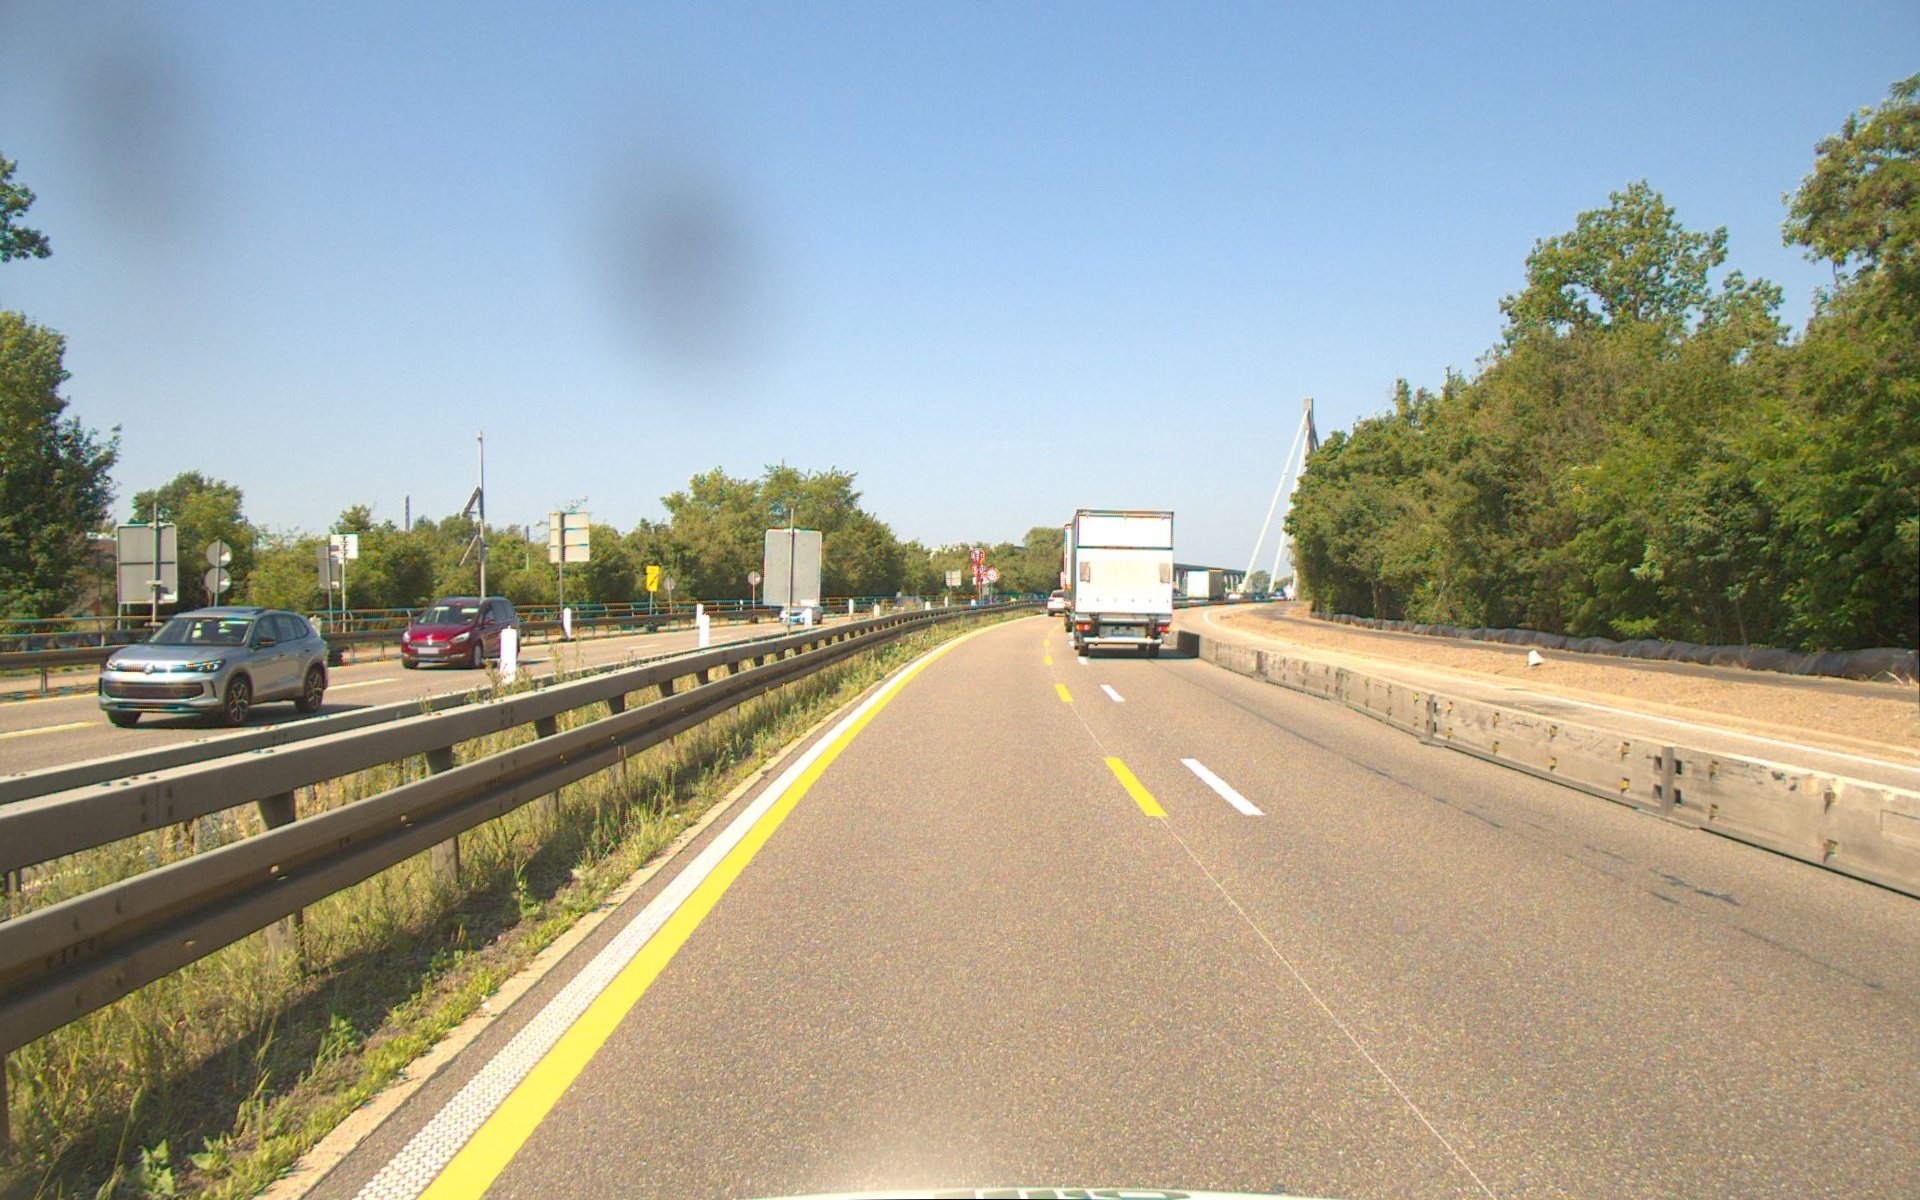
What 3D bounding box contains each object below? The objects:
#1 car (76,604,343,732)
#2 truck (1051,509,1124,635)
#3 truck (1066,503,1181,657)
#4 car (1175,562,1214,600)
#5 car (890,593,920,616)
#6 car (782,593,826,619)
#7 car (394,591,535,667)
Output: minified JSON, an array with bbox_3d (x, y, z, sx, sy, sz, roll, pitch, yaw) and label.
[{"bbox_3d":[-11.246,0.947,25.156,1.869,1.680,4.378,-2,0,3],"label":"car"},{"bbox_3d":[4.886,-1.044,64.176,2.579,4.547,7.236,1,0,3],"label":"truck"},{"bbox_3d":[4.023,-0.475,41.480,2.579,3.487,7.237,1,0,4],"label":"truck"},{"bbox_3d":[28.196,-2.309,198.285,4.117,4.325,10.671,-2,1,10],"label":"car"},{"bbox_3d":[-3.784,0.316,113.944,1.701,1.524,4.002,-1,0,4],"label":"car"},{"bbox_3d":[-9.083,0.347,96.703,1.845,1.445,4.861,-1,0,3],"label":"car"},{"bbox_3d":[-12.616,0.680,42.470,1.869,1.765,5.022,-2,0,3],"label":"car"}]
